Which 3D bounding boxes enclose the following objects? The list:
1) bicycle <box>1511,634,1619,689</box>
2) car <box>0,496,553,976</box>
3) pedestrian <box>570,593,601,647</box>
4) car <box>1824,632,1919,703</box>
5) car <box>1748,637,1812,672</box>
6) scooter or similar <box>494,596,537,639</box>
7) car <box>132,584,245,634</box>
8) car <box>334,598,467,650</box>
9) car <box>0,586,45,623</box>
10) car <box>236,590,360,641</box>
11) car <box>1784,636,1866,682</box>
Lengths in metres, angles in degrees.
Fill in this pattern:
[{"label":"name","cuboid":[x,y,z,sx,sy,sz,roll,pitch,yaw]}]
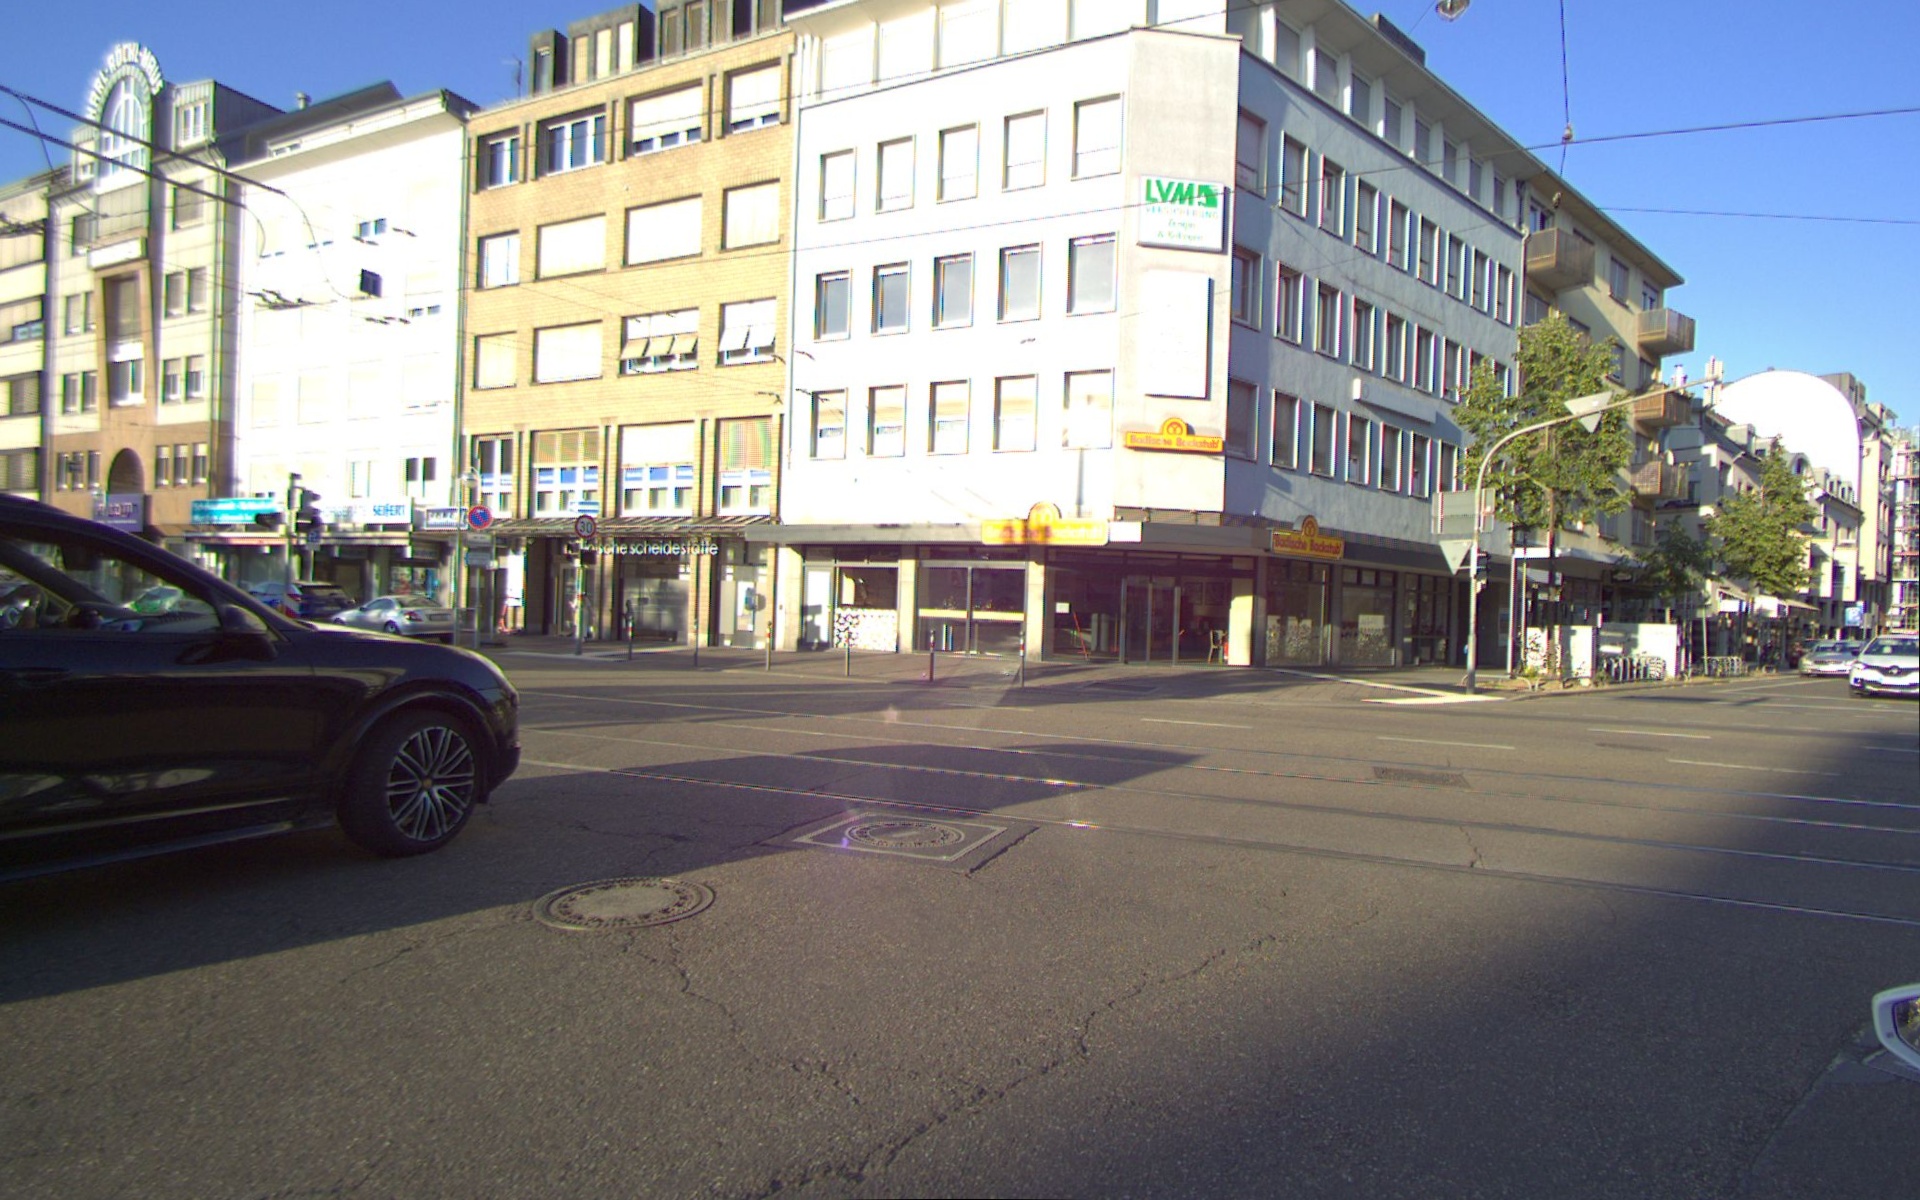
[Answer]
[{"label":"bicycle","cuboid":[16.160,1.622,26.888,0.635,1.269,2.344,3,1,-43]},{"label":"car","cuboid":[-4.160,0.458,4.096,1.773,1.720,4.564,3,0,27]},{"label":"pedestrian","cuboid":[-10.723,0.558,28.748,0.612,1.492,0.544,1,3,11]},{"label":"car","cuboid":[22.999,1.642,24.732,3.983,1.577,2.089,3,-2,-42]},{"label":"car","cuboid":[39.405,2.633,48.248,3.751,1.577,1.818,3,-2,-42]},{"label":"scooter or similar","cuboid":[-13.685,0.531,30.910,1.440,1.275,0.395,1,1,29]},{"label":"car","cuboid":[-24.897,0.257,32.428,3.326,1.484,1.635,1,2,28]},{"label":"car","cuboid":[-15.299,0.617,27.464,3.326,1.270,1.635,1,2,28]},{"label":"car","cuboid":[-36.473,0.143,38.227,3.089,1.309,1.458,1,2,28]},{"label":"car","cuboid":[-19.367,0.421,29.382,3.326,1.372,1.635,1,2,28]},{"label":"car","cuboid":[32.201,2.148,37.371,3.751,1.577,1.818,2,-1,-41]}]
